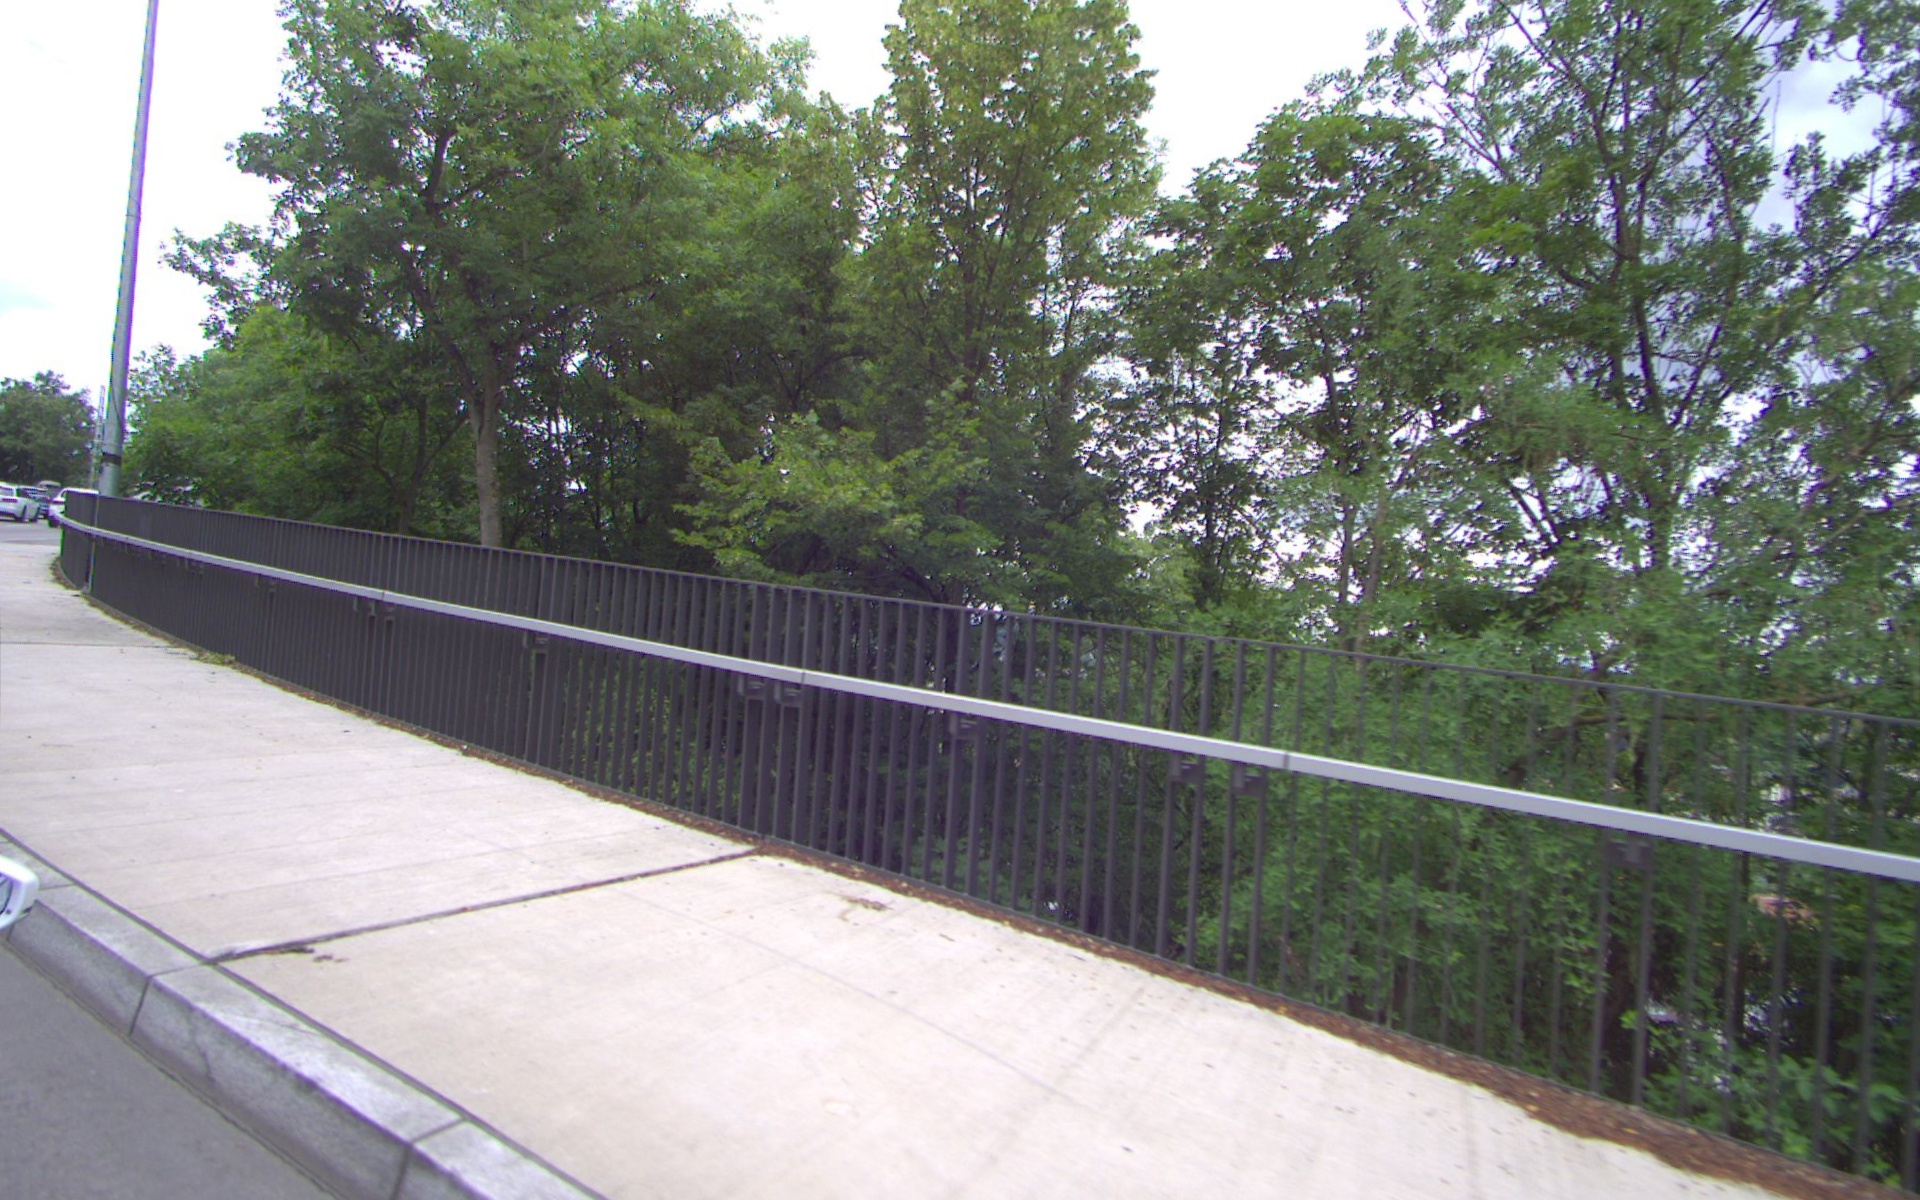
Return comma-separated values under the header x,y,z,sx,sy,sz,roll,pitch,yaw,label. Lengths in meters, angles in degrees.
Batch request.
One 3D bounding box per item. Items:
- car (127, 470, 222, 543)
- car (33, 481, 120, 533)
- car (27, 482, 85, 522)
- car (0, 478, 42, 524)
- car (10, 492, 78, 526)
x,y,z,sx,sy,sz,roll,pitch,yaw,label
-32.045,-3.718,41.235,2.066,2.556,5.800,4,1,-29,car
-35.794,-3.725,40.857,1.983,1.604,3.965,9,-3,-34,car
-45.833,-4.927,50.997,1.989,1.558,3.962,10,-3,-43,car
-39.015,-4.088,40.872,1.897,1.591,3.963,10,-3,-35,car
-64.201,-6.365,70.491,4.525,1.793,1.804,7,-1,25,car
